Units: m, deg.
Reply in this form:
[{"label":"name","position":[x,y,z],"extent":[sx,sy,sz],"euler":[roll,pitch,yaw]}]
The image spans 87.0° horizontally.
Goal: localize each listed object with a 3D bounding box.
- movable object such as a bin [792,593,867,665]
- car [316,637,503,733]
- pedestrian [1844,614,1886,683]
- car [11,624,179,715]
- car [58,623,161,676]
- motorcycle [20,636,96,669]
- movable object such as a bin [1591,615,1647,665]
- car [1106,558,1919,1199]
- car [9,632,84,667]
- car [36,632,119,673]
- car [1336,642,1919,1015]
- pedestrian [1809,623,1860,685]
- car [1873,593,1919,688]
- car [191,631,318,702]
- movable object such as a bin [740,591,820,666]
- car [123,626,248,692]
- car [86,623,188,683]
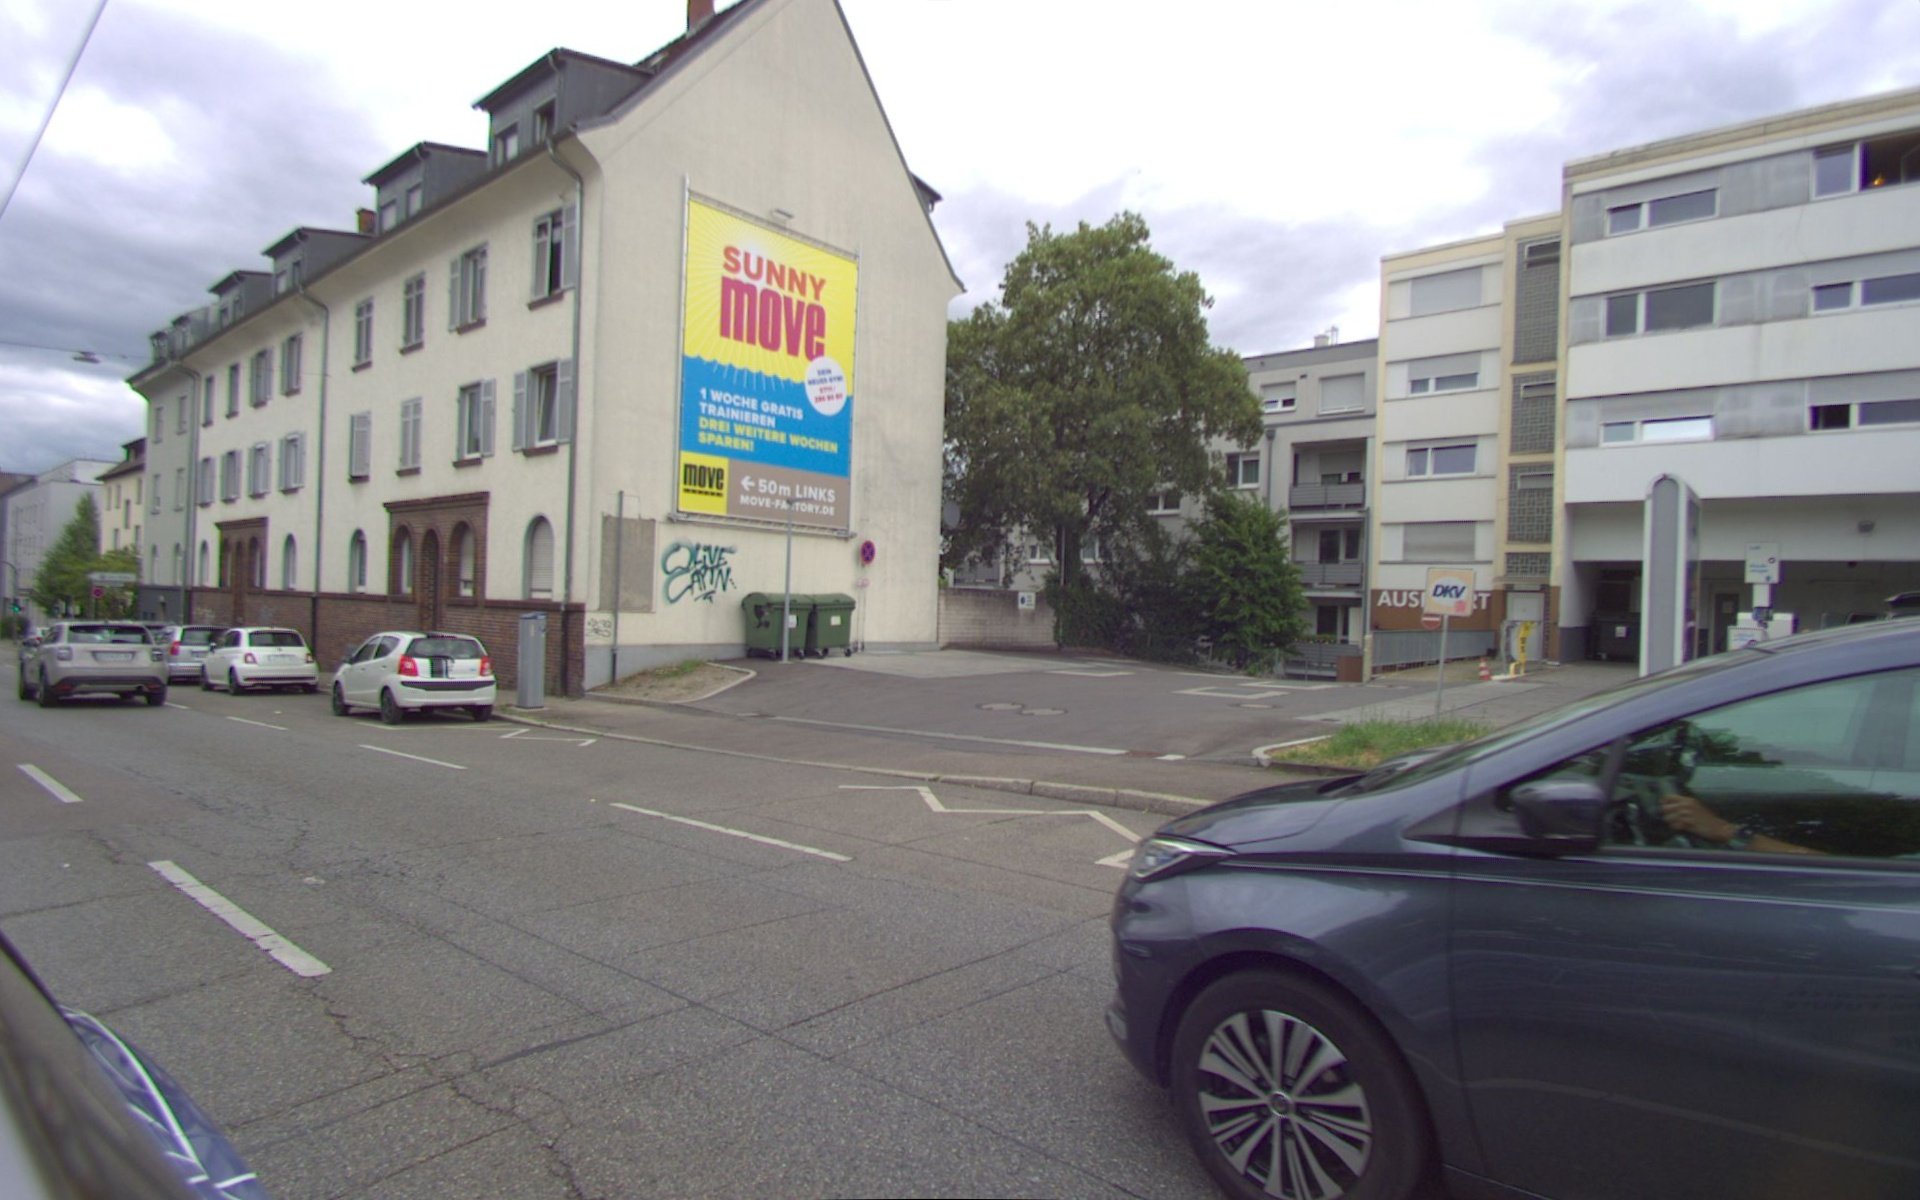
[{"label":"movable object such as a bin","position":[-2.948,0.670,22.944],"extent":[1.104,1.550,1.251],"euler":[-2,-4,41]},{"label":"car","position":[-9.313,1.352,17.028],"extent":[3.663,1.436,1.602],"euler":[-2,-4,42]},{"label":"pedestrian","position":[20.431,1.086,22.846],"extent":[0.665,1.528,0.789],"euler":[-2,-2,43]},{"label":"car","position":[-16.279,1.246,18.983],"extent":[3.998,1.537,1.779],"euler":[-1,-4,41]},{"label":"car","position":[-28.300,1.617,33.620],"extent":[4.640,1.634,1.826],"euler":[-2,-3,40]},{"label":"motorcycle","position":[-35.596,2.099,39.951],"extent":[0.802,1.245,2.030],"euler":[-1,-5,23]},{"label":"movable object such as a bin","position":[18.794,1.123,28.860],"extent":[1.242,1.384,1.139],"euler":[-1,-2,39]},{"label":"car","position":[2.342,0.748,2.152],"extent":[3.716,1.567,1.665],"euler":[-1,-4,40]},{"label":"car","position":[-38.012,2.053,42.081],"extent":[4.334,1.385,1.709],"euler":[-2,-3,40]},{"label":"car","position":[-32.453,1.905,37.185],"extent":[4.189,1.440,1.709],"euler":[-2,-4,41]},{"label":"car","position":[4.236,0.968,4.875],"extent":[4.216,1.461,1.772],"euler":[-1,-4,41]},{"label":"pedestrian","position":[19.149,1.167,22.184],"extent":[0.800,1.324,0.656],"euler":[-2,-2,40]},{"label":"car","position":[21.317,0.872,22.170],"extent":[1.835,1.978,3.854],"euler":[-1,-2,41]},{"label":"car","position":[-16.238,1.482,23.241],"extent":[3.602,1.486,1.531],"euler":[-1,-3,41]},{"label":"movable object such as a bin","position":[-3.891,0.642,21.908],"extent":[1.104,1.550,1.251],"euler":[-2,-4,41]},{"label":"car","position":[-20.288,1.522,26.457],"extent":[4.079,1.570,1.709],"euler":[-1,-5,41]},{"label":"car","position":[-24.250,1.533,29.760],"extent":[4.502,1.611,1.708],"euler":[-2,-4,43]}]
